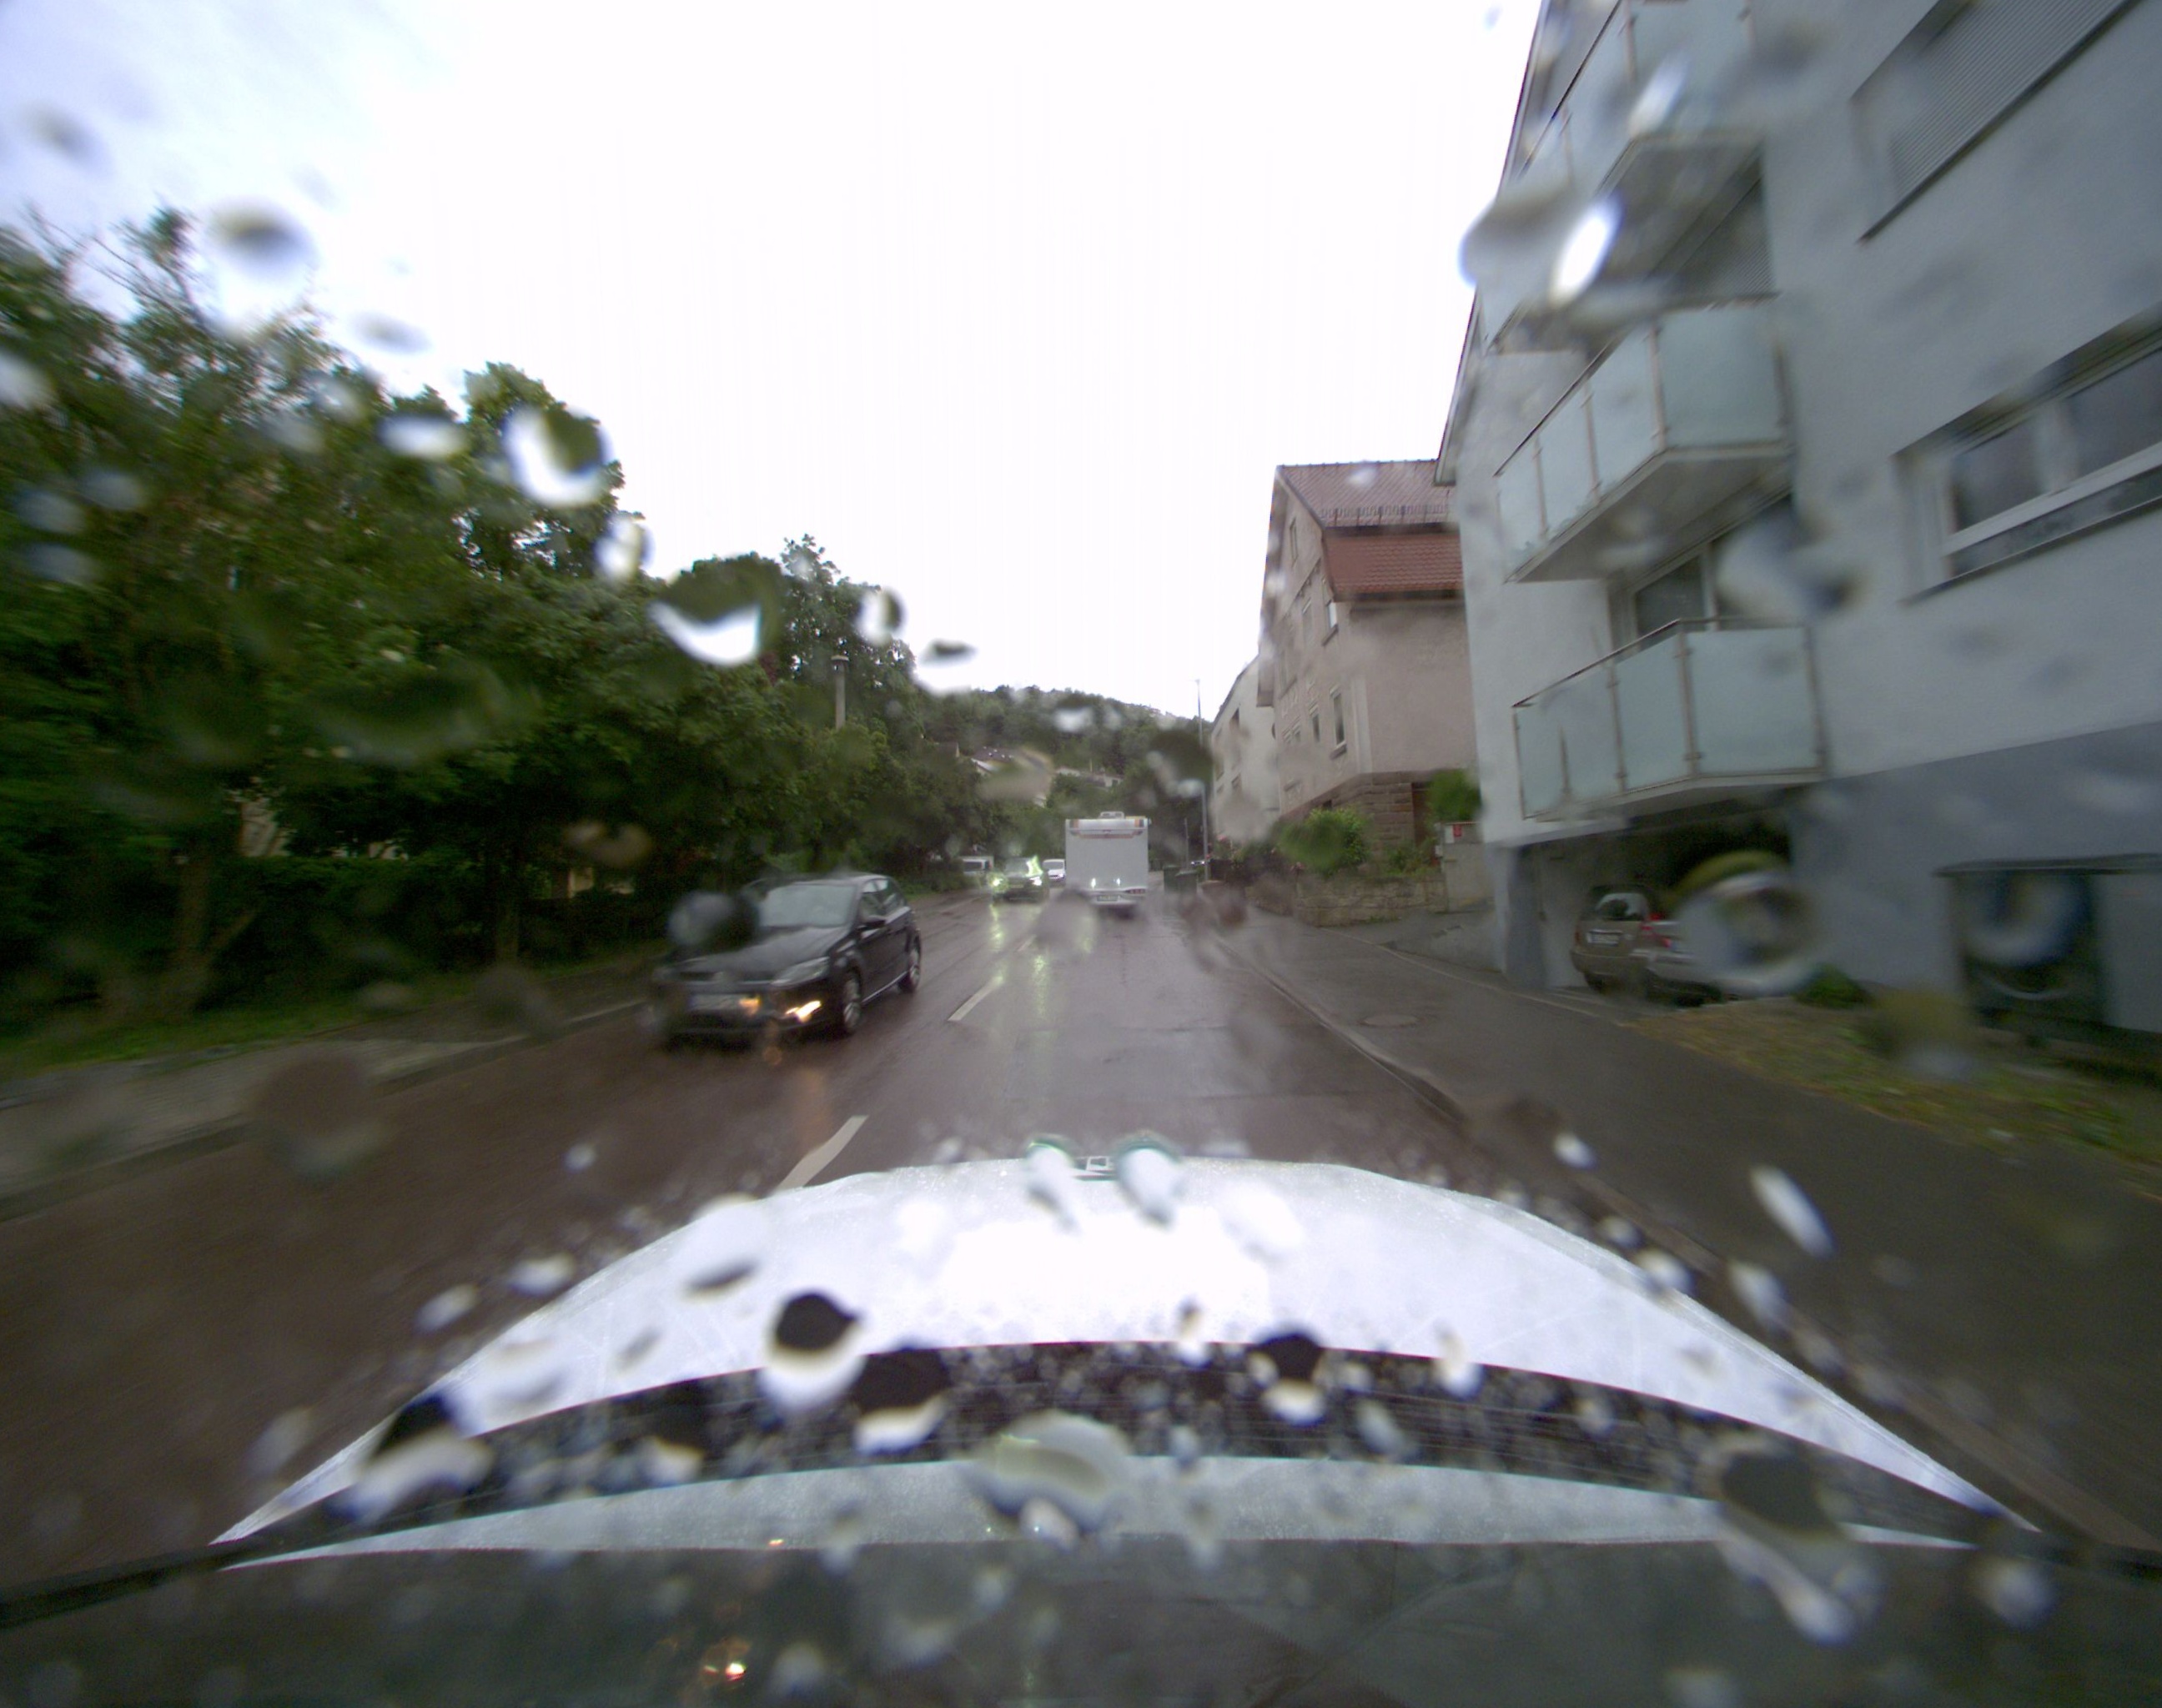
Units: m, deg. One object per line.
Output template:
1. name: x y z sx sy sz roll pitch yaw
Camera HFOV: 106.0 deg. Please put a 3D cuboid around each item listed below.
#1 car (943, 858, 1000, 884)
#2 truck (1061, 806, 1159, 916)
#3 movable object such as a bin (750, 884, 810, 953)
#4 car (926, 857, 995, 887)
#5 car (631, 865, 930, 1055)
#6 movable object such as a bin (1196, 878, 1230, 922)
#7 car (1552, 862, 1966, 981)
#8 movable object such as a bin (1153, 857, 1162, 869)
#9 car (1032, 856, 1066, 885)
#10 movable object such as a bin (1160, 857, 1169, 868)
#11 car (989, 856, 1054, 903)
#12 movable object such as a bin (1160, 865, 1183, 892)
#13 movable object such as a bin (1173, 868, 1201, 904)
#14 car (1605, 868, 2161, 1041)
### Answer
1. car: -8.005 1.226 59.607 4.074 1.774 1.794 -1 -1 -8
2. truck: 0.773 0.187 24.410 2.507 2.817 6.201 -1 0 0
3. movable object such as a bin: -5.069 1.068 13.746 0.718 1.100 0.758 0 -1 2
4. car: -7.839 1.164 53.256 4.088 1.800 2.002 -1 0 3
5. car: -2.750 0.871 8.377 1.613 1.441 3.737 -1 0 1
6. movable object such as a bin: 2.890 0.999 17.867 0.628 0.897 0.712 -1 -1 2
7. car: 8.555 0.814 10.534 3.959 1.304 1.682 -1 0 0
8. movable object such as a bin: 7.329 0.826 78.011 0.670 1.139 0.620 -1 -1 -28
9. car: -1.846 0.951 47.737 1.799 1.553 3.829 -1 0 0
10. movable object such as a bin: 8.042 0.839 78.354 0.708 1.088 0.555 -1 -1 -28
11. car: -2.215 0.922 31.496 1.909 1.623 4.367 -1 0 3
12. movable object such as a bin: 3.643 0.973 32.758 0.832 1.061 0.750 -1 -1 2
13. movable object such as a bin: 3.286 0.980 25.303 0.793 1.070 0.761 -1 -1 3
14. car: 8.134 0.954 8.240 4.453 1.444 1.755 -2 -4 1
